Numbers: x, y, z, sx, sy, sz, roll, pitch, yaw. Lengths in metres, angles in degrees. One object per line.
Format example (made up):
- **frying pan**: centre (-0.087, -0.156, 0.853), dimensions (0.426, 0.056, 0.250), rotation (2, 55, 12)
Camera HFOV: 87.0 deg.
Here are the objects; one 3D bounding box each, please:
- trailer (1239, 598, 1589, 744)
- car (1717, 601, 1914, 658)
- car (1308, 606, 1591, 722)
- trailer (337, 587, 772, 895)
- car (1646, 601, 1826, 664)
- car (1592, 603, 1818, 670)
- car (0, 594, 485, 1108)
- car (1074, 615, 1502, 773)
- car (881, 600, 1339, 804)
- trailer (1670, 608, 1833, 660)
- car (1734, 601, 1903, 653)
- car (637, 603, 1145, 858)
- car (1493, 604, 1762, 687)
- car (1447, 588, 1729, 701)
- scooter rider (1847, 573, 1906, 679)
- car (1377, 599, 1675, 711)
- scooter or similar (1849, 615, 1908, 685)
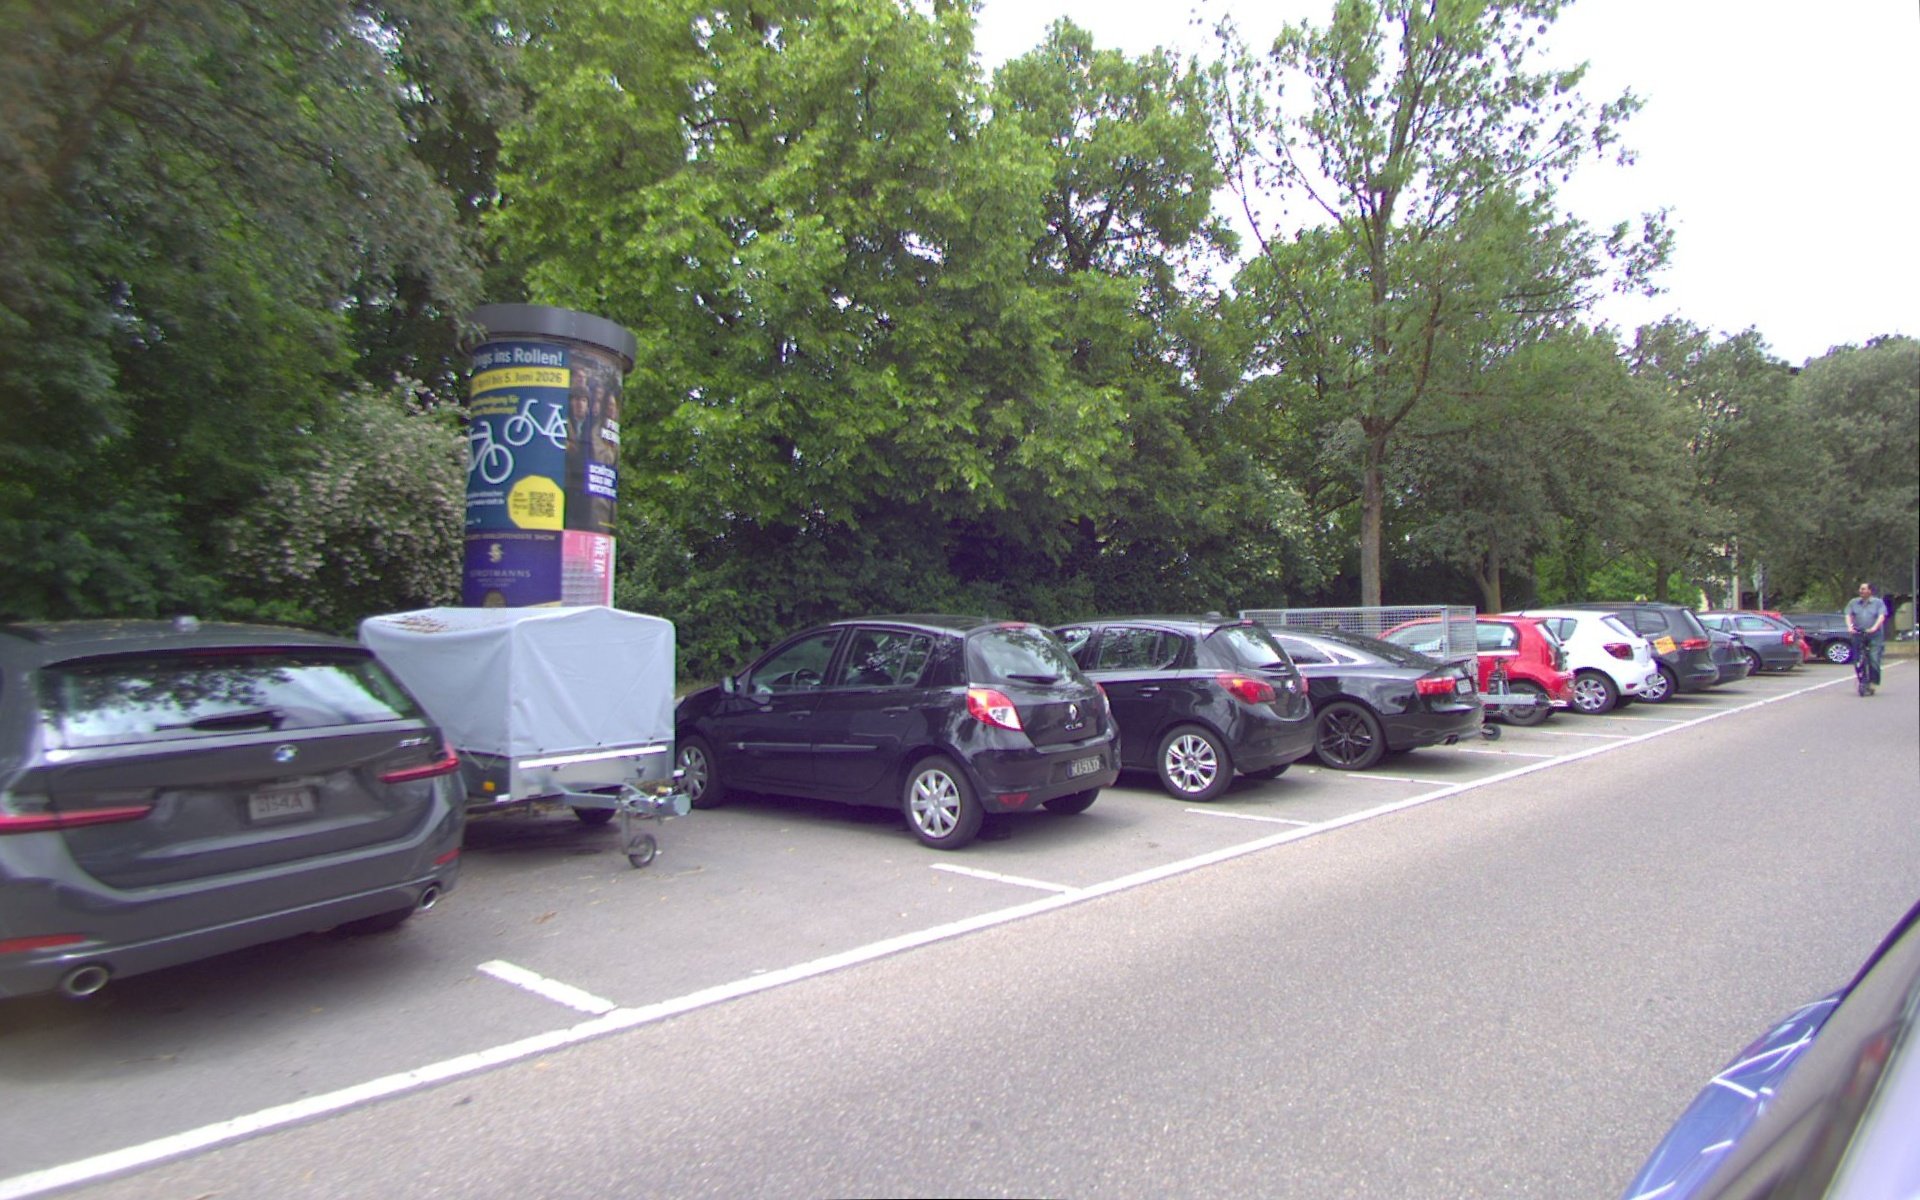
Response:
- **trailer**: centre (5.564, 0.816, 12.619), dimensions (3.681, 1.555, 1.623), rotation (-2, -2, 39)
- **car**: centre (23.961, 0.834, 28.551), dimensions (4.126, 1.495, 1.554), rotation (-2, -1, 39)
- **car**: centre (6.982, 0.854, 14.569), dimensions (3.416, 1.464, 1.538), rotation (-2, -1, 38)
- **trailer**: centre (-2.711, 0.755, 6.576), dimensions (2.978, 1.562, 1.285), rotation (-2, -2, 37)
- **car**: centre (19.651, 0.819, 25.768), dimensions (3.515, 1.495, 1.570), rotation (-2, -2, 38)
- **car**: centre (17.761, 0.845, 24.248), dimensions (4.215, 1.483, 1.610), rotation (-2, -2, 41)
- **car**: centre (-4.208, 0.769, 4.651), dimensions (4.324, 1.464, 1.615), rotation (-1, -2, 32)
- **car**: centre (3.338, 0.873, 10.736), dimensions (4.028, 1.344, 1.538), rotation (-2, -1, 39)
- **car**: centre (1.254, 0.801, 9.346), dimensions (3.902, 1.506, 1.596), rotation (-2, -2, 38)
- **trailer**: centre (21.435, 0.904, 27.481), dimensions (3.397, 1.283, 1.593), rotation (-1, -1, 41)
- **car**: centre (25.826, 0.817, 30.536), dimensions (1.549, 1.495, 3.719), rotation (1, -2, -42)
- **car**: centre (-0.679, 0.802, 7.741), dimensions (3.833, 1.474, 1.611), rotation (-2, -2, 40)
- **car**: centre (12.709, 0.830, 19.403), dimensions (4.152, 1.425, 1.674), rotation (-2, -1, 39)
- **car**: centre (10.813, 0.727, 17.571), dimensions (3.978, 1.747, 1.657), rotation (-2, -1, 39)
- **scooter rider**: centre (15.834, 0.445, 17.473), dimensions (0.681, 1.752, 1.177), rotation (-2, -2, 45)
- **car**: centre (8.853, 0.804, 16.058), dimensions (1.579, 1.549, 3.822), rotation (0, -1, -44)
- **scooter or similar**: centre (15.868, 0.839, 17.469), dimensions (0.681, 1.154, 1.436), rotation (-2, -2, 44)
